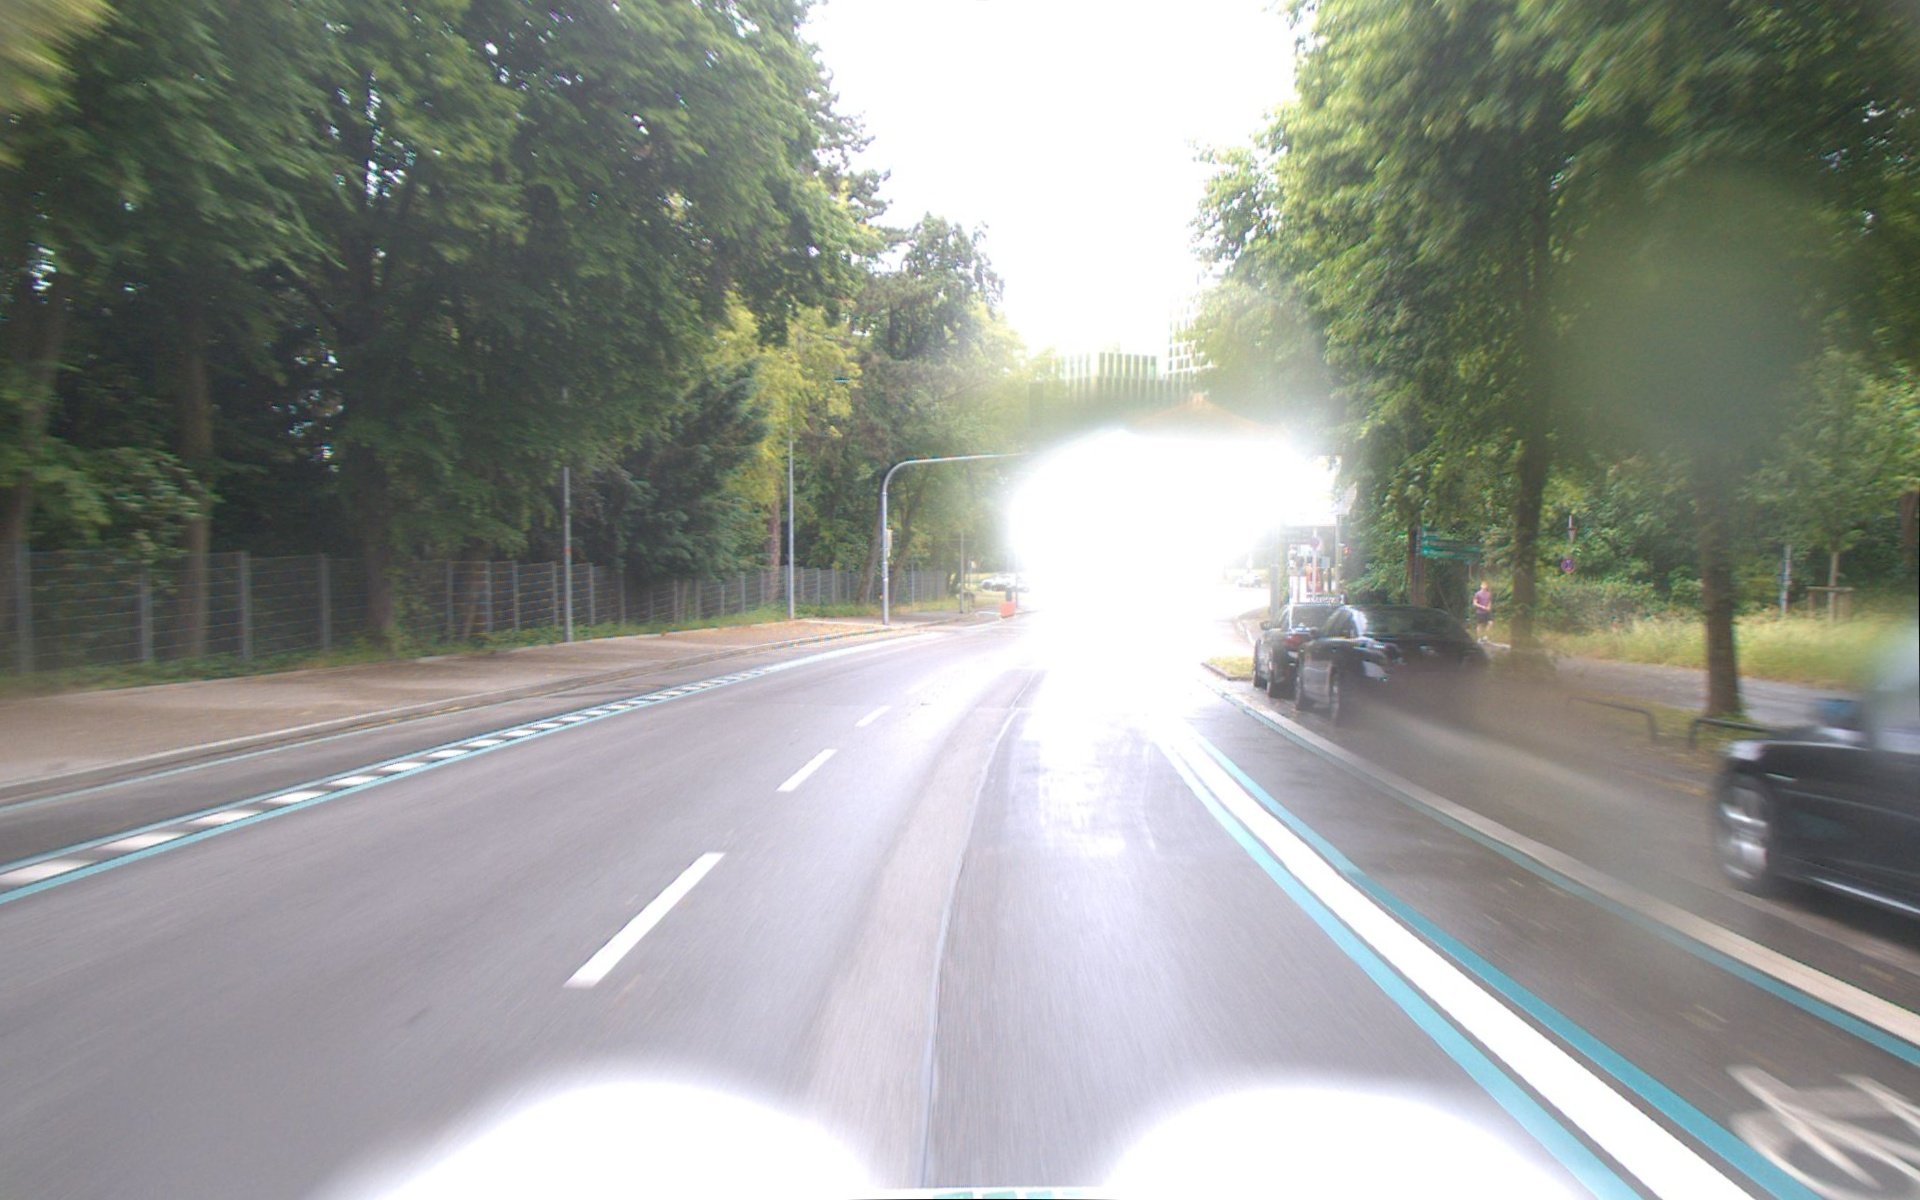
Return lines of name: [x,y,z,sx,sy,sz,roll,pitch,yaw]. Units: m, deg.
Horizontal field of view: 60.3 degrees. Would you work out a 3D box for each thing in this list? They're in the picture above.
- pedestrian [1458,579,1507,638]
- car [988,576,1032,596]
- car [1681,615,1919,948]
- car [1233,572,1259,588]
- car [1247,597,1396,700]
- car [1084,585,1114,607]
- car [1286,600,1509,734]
pedestrian: [15.669,0.247,49.637,0.875,1.763,1.137,1,0,-24]
car: [4.823,-1.394,159.562,3.905,1.466,1.608,7,3,13]
car: [5.092,0.832,7.269,1.745,1.432,4.845,2,0,0]
car: [32.108,-2.264,185.639,1.954,1.715,3.998,1,1,24]
car: [5.806,0.717,27.091,1.720,1.465,4.860,2,0,5]
car: [9.836,-0.295,116.870,1.804,1.482,4.504,1,2,9]
car: [5.439,0.760,21.175,1.664,1.445,4.764,2,0,2]
